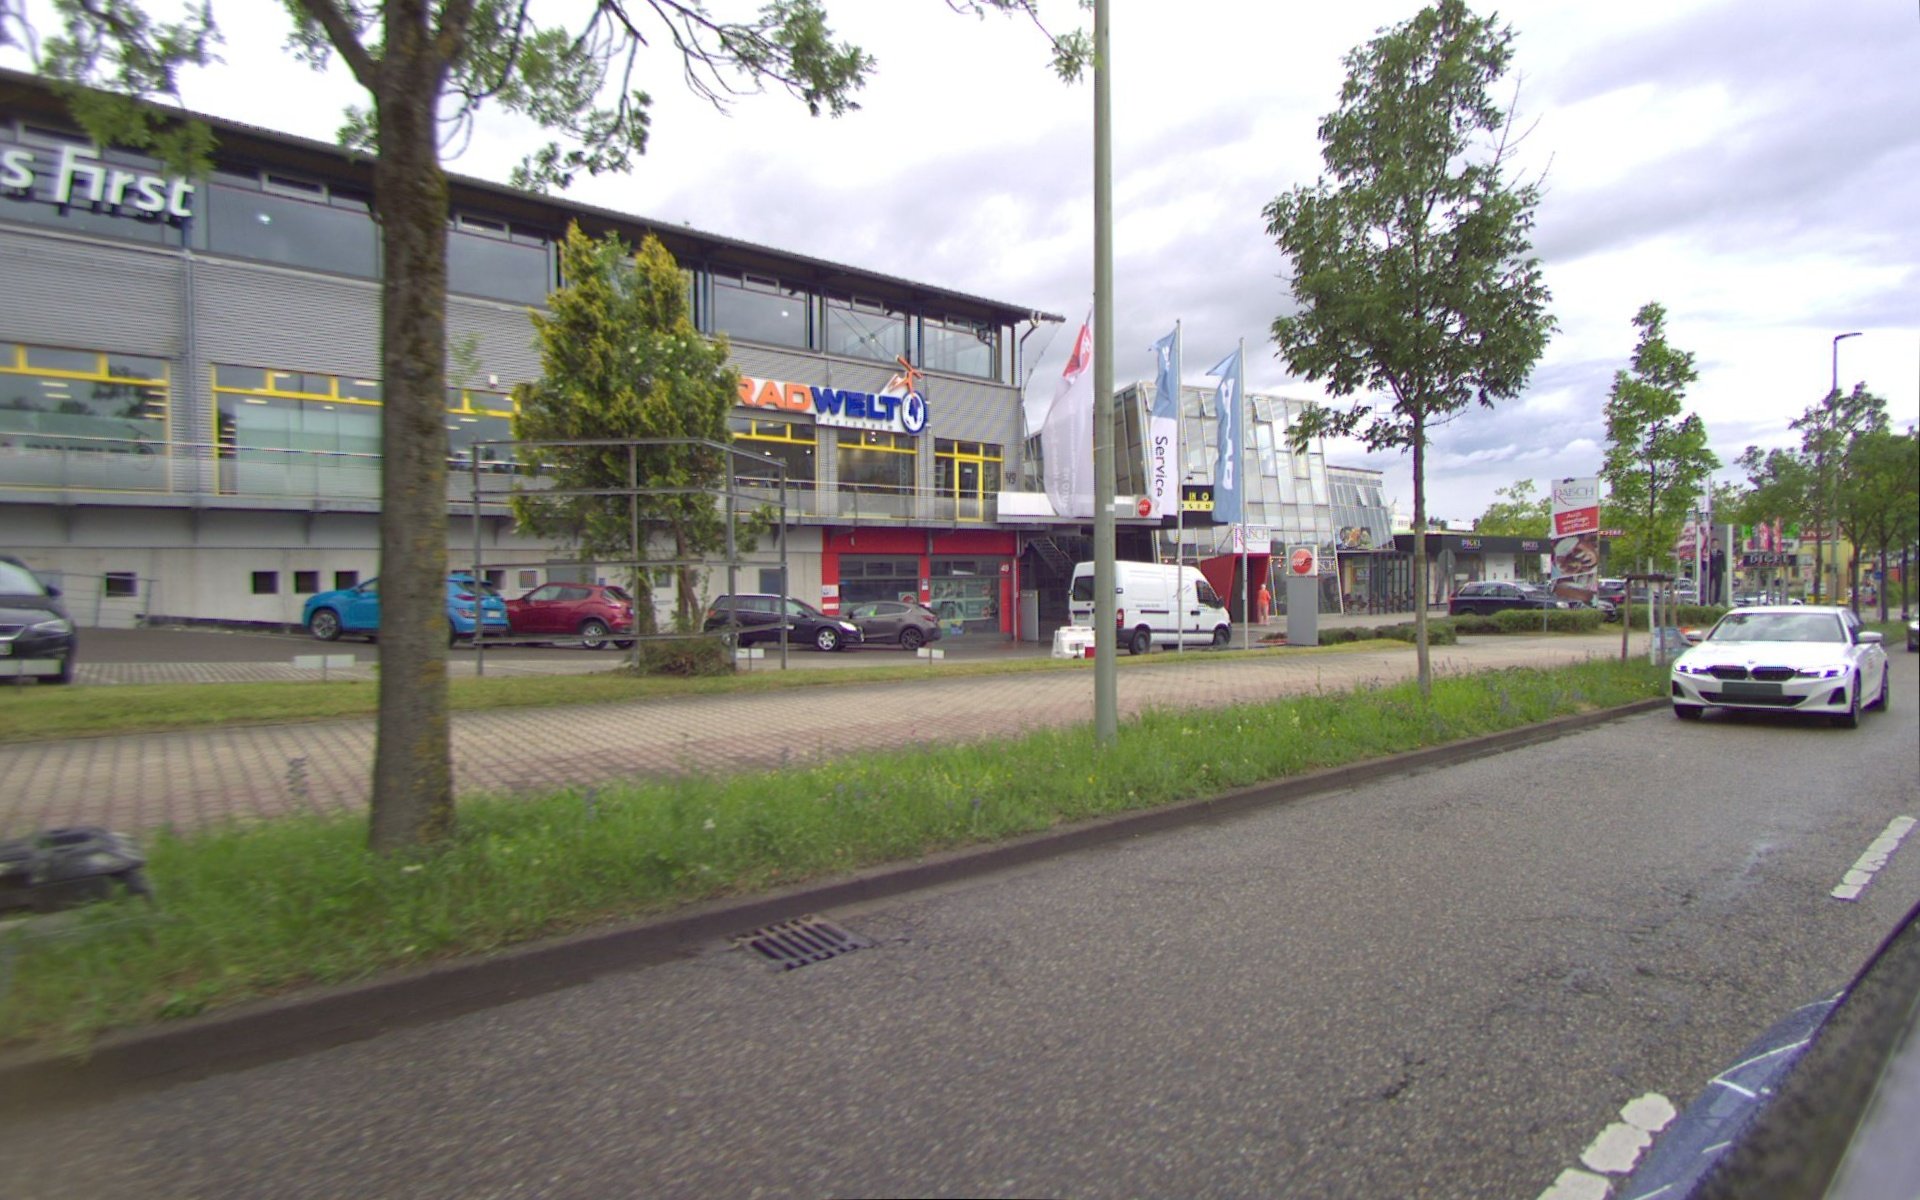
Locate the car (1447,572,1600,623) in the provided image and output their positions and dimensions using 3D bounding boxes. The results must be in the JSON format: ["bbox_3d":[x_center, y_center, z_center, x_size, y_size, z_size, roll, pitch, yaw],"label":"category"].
[{"bbox_3d":[21.226,-0.139,38.313,1.888,1.620,4.678,0,3,-31],"label":"car"}]

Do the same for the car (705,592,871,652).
[{"bbox_3d":[-4.702,0.600,27.930,4.185,1.489,1.737,1,-1,6],"label":"car"}]

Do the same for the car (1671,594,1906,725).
[{"bbox_3d":[11.174,0.680,13.535,4.465,1.459,1.805,0,-1,-43],"label":"car"}]

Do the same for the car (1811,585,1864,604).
[{"bbox_3d":[91.189,-0.596,105.254,3.978,1.835,1.744,1,1,37],"label":"car"}]

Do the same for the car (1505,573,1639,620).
[{"bbox_3d":[24.476,-0.177,40.594,1.794,1.620,4.182,0,4,-38],"label":"car"}]

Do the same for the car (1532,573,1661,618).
[{"bbox_3d":[26.687,-0.212,42.558,1.767,1.620,4.182,0,4,-38],"label":"car"}]

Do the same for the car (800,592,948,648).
[{"bbox_3d":[-2.517,0.588,30.273,4.183,1.489,1.782,1,-1,4],"label":"car"}]

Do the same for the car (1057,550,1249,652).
[{"bbox_3d":[5.445,0.111,28.129,5.578,2.570,2.231,2,-3,-40],"label":"car"}]

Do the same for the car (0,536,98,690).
[{"bbox_3d":[-10.853,0.094,10.683,4.080,1.457,1.773,1,-1,37],"label":"car"}]

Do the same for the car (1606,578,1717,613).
[{"bbox_3d":[34.744,-0.260,50.207,1.830,1.491,4.177,0,4,-41],"label":"car"}]

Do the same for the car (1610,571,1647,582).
[{"bbox_3d":[99.959,-3.528,151.316,1.792,1.601,4.218,0,1,-41],"label":"car"}]

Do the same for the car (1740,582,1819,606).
[{"bbox_3d":[60.588,-0.453,74.886,4.235,1.599,1.743,2,3,3],"label":"car"}]

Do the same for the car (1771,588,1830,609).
[{"bbox_3d":[65.970,-0.129,79.489,1.714,1.599,3.865,1,0,8],"label":"car"}]

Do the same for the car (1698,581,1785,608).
[{"bbox_3d":[51.733,-0.380,67.074,4.111,1.599,1.739,3,3,10],"label":"car"}]

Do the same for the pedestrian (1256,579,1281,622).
[{"bbox_3d":[13.137,0.017,43.042,0.736,1.781,0.685,-2,1,-37],"label":"pedestrian"}]

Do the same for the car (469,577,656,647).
[{"bbox_3d":[-9.493,0.294,24.290,3.811,1.521,1.735,1,-1,9],"label":"car"}]

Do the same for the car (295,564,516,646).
[{"bbox_3d":[-11.779,0.110,21.631,3.845,1.579,1.736,1,-1,8],"label":"car"}]

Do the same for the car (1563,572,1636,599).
[{"bbox_3d":[46.866,-1.085,74.207,4.043,1.766,1.799,2,4,5],"label":"car"}]

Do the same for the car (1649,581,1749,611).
[{"bbox_3d":[42.223,-0.250,57.913,4.119,1.491,1.784,3,3,13],"label":"car"}]
